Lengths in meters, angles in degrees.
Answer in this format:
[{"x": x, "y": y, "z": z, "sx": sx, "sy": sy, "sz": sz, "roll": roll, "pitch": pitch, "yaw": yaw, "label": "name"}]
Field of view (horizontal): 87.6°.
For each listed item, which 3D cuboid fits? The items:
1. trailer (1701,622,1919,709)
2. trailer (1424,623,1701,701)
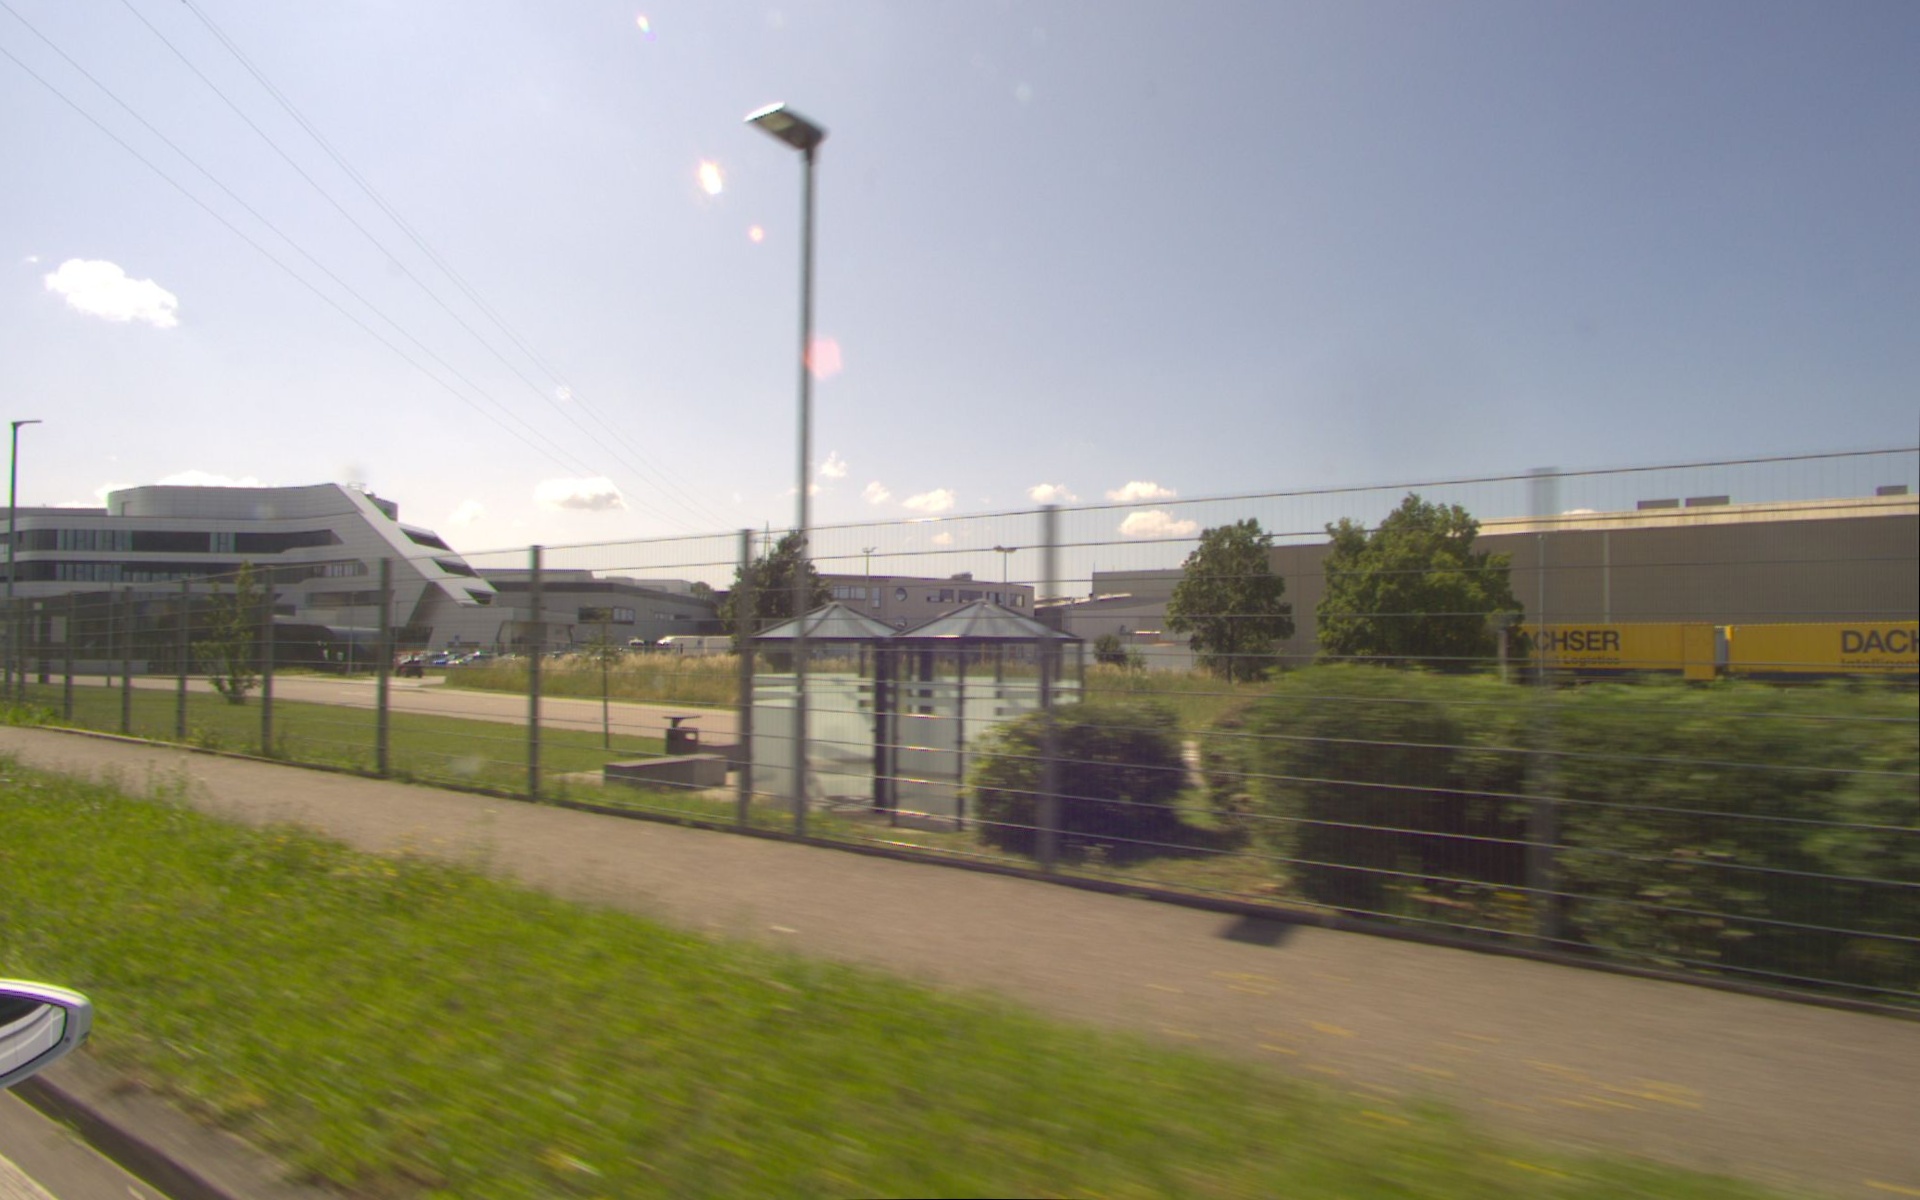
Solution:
[{"x": 43.308, "y": 3.005, "z": 46.012, "sx": 14.865, "sy": 3.889, "sz": 2.927, "roll": -1, "pitch": -3, "yaw": 37, "label": "trailer"}, {"x": 32.225, "y": 3.223, "z": 54.179, "sx": 12.585, "sy": 3.812, "sz": 2.910, "roll": -1, "pitch": -3, "yaw": 36, "label": "trailer"}]
